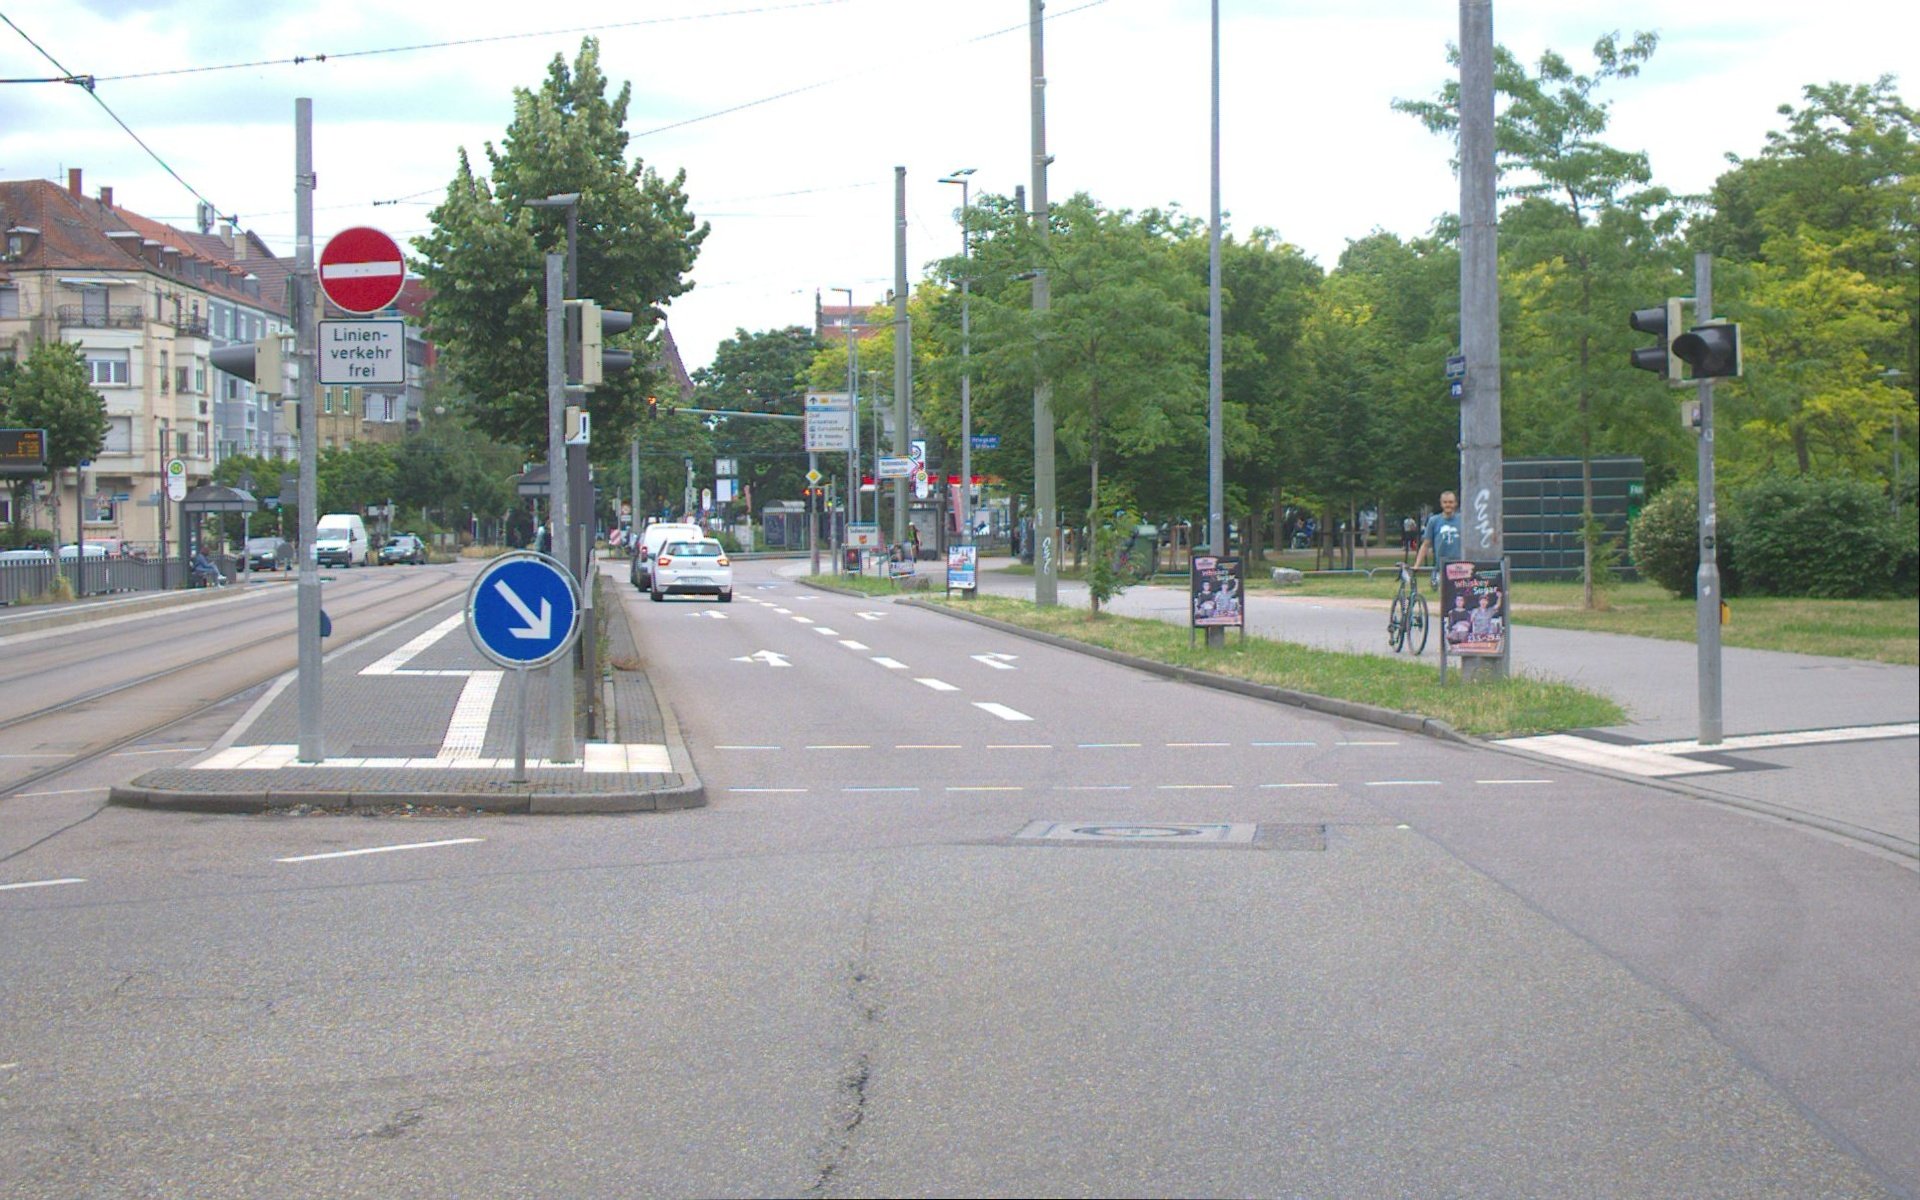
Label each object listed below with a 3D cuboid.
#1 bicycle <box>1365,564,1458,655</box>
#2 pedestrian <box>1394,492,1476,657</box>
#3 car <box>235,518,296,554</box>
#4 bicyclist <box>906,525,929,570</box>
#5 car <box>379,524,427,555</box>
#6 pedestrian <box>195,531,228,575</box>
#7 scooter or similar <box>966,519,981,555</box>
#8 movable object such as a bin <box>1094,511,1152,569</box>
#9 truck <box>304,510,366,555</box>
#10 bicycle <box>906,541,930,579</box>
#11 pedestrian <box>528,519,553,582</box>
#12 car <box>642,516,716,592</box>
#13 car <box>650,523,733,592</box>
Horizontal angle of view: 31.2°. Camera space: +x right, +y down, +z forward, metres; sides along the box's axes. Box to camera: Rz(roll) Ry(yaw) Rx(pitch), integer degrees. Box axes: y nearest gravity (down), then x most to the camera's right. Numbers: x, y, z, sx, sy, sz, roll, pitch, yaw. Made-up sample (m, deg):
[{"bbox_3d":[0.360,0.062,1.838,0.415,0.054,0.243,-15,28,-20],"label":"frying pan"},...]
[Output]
[{"bbox_3d":[5.188,0.099,39.599,0.654,0.999,1.779,-1,1,-6],"label":"bicycle"},{"bbox_3d":[5.464,-0.298,39.565,0.739,1.863,0.682,-1,1,-8],"label":"pedestrian"},{"bbox_3d":[-29.285,-2.687,145.072,1.770,1.488,3.887,-1,1,0],"label":"car"},{"bbox_3d":[-1.339,-1.644,107.505,0.679,1.375,0.727,-1,1,-3],"label":"bicyclist"},{"bbox_3d":[-27.740,-3.011,171.305,1.770,1.488,3.887,-1,1,0],"label":"car"},{"bbox_3d":[-21.746,-1.376,99.836,0.864,1.262,0.694,-1,1,-8],"label":"pedestrian"},{"bbox_3d":[0.426,-2.037,110.232,0.376,1.137,1.199,-1,1,5],"label":"scooter or similar"},{"bbox_3d":[3.991,-1.476,84.230,1.282,1.385,1.159,-1,1,-5],"label":"movable object such as a bin"},{"bbox_3d":[-28.611,-3.076,157.452,1.788,2.025,5.396,-1,1,0],"label":"truck"},{"bbox_3d":[-1.318,-1.268,107.507,0.679,1.151,1.898,-1,2,-3],"label":"bicycle"},{"bbox_3d":[-10.279,-1.218,84.341,0.532,1.552,0.571,-1,1,-2],"label":"pedestrian"},{"bbox_3d":[-7.476,-1.245,91.174,1.782,1.956,4.383,-1,2,-6],"label":"car"},{"bbox_3d":[-5.947,-0.959,76.400,1.782,1.467,4.011,0,2,-4],"label":"car"}]
